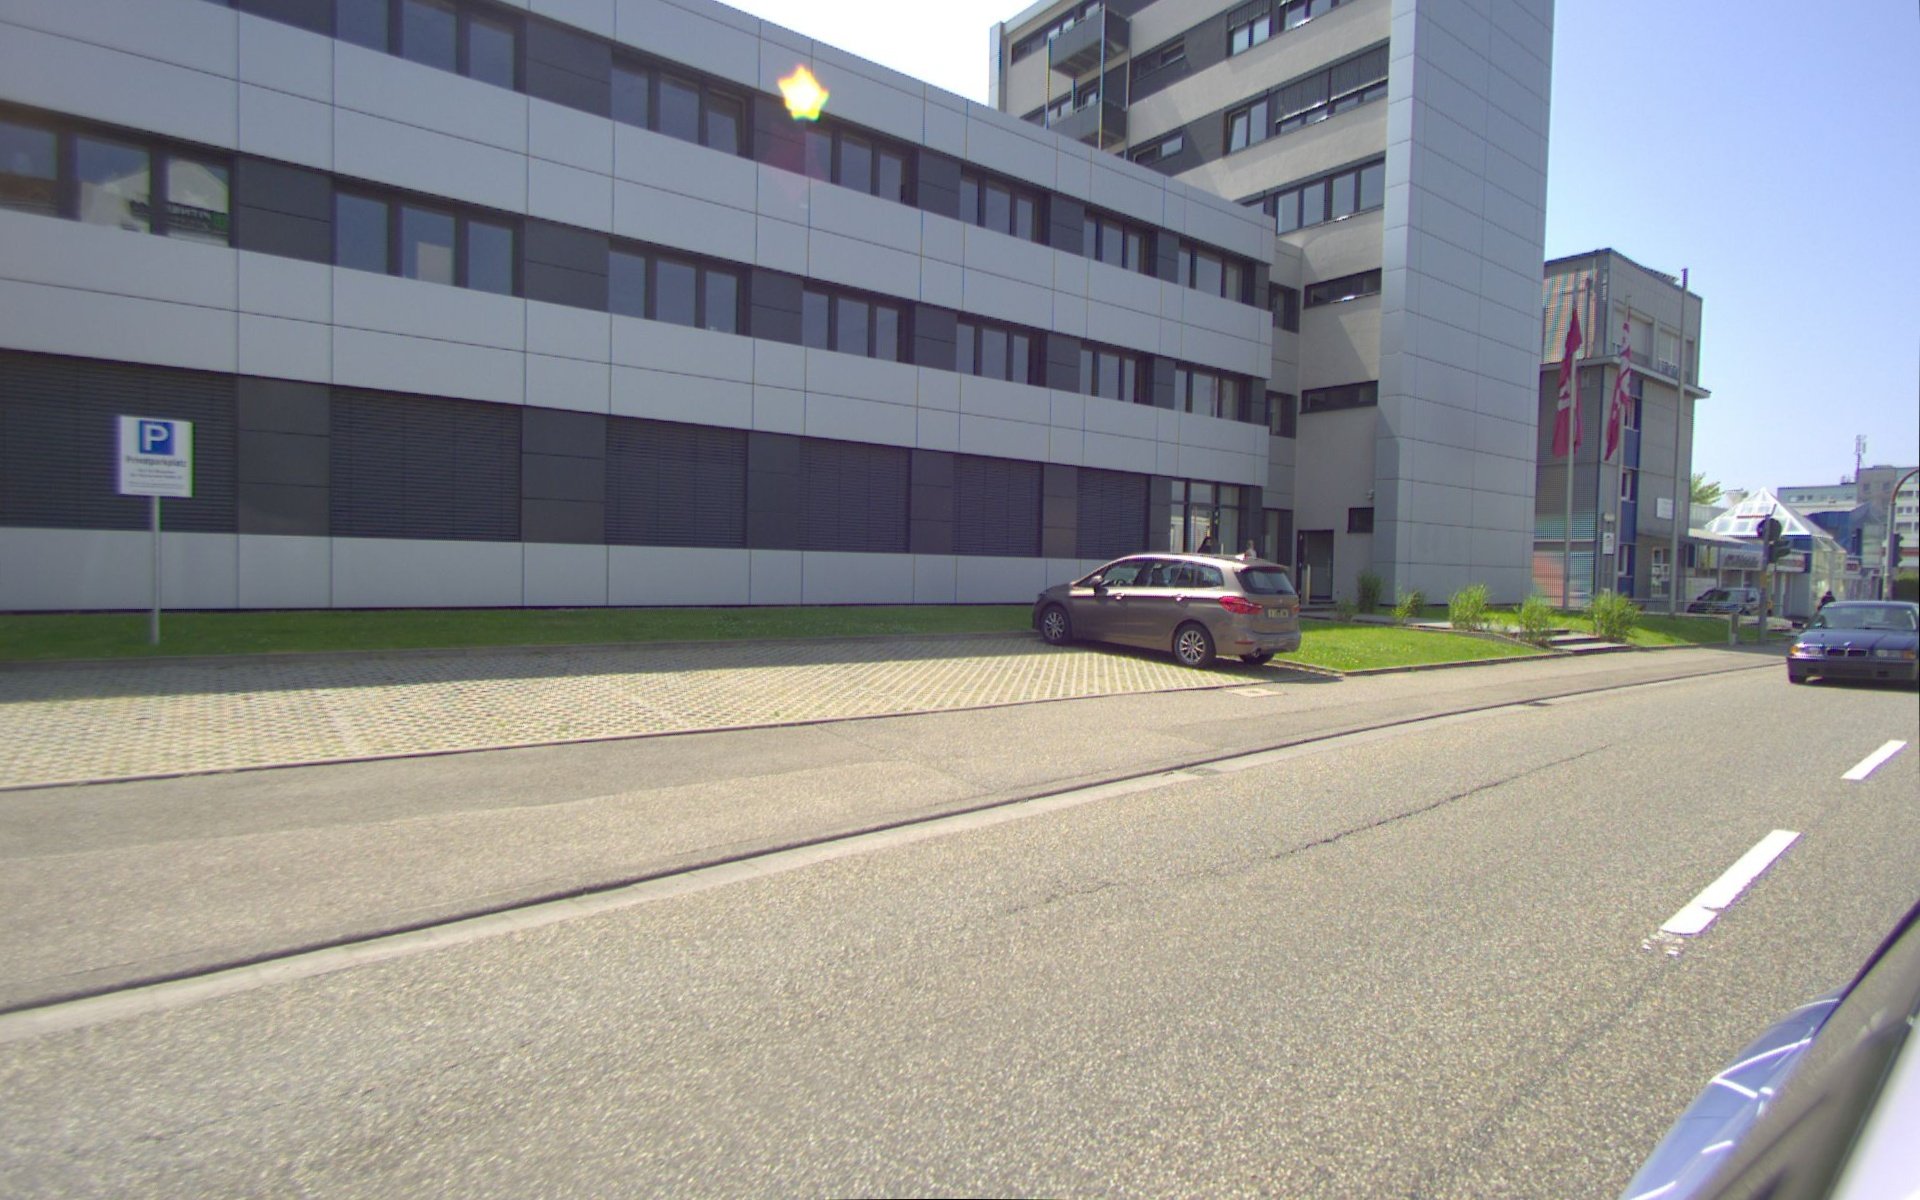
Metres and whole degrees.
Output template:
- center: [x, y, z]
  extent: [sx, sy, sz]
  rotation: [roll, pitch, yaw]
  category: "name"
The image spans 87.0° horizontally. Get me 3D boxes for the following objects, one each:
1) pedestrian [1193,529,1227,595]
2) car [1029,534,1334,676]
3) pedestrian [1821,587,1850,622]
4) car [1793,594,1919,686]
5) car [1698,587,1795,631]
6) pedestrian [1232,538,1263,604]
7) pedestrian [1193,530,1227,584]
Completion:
- center: [6.411, -0.984, 25.980]
  extent: [0.512, 1.654, 0.596]
  rotation: [1, 2, -28]
  category: "pedestrian"
- center: [3.292, -0.056, 15.753]
  extent: [1.965, 1.709, 4.270]
  rotation: [-1, 6, -41]
  category: "car"
- center: [42.187, 0.199, 48.780]
  extent: [0.836, 1.647, 0.813]
  rotation: [0, 3, -34]
  category: "pedestrian"
- center: [15.364, 0.593, 16.872]
  extent: [3.690, 1.356, 1.631]
  rotation: [0, 1, -40]
  category: "car"
- center: [29.383, 0.295, 37.762]
  extent: [4.119, 1.550, 1.849]
  rotation: [0, 1, -37]
  category: "car"
- center: [7.519, -0.768, 26.477]
  extent: [0.520, 1.683, 0.747]
  rotation: [3, 2, 35]
  category: "pedestrian"
- center: [6.735, -1.164, 27.256]
  extent: [0.521, 1.422, 0.787]
  rotation: [3, 3, 43]
  category: "pedestrian"
